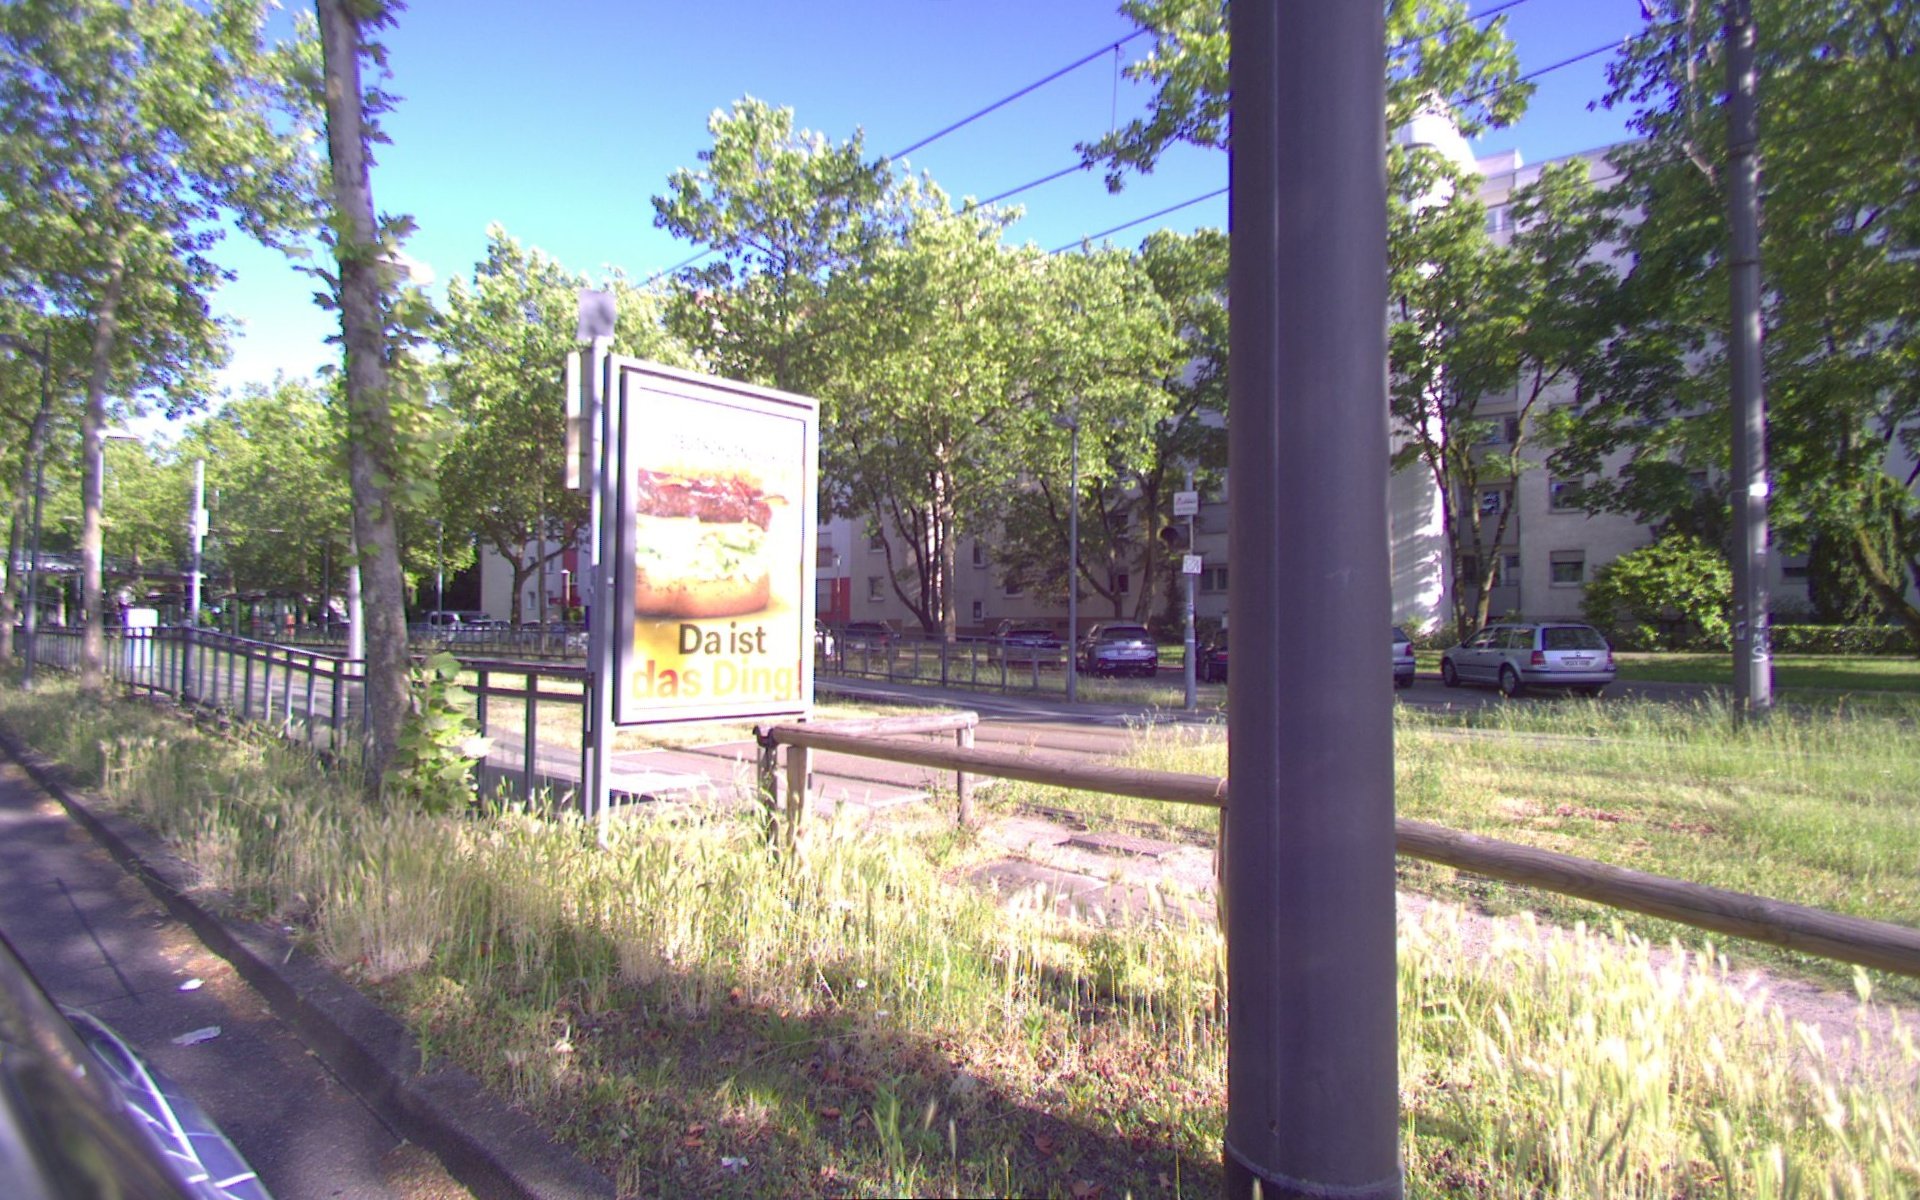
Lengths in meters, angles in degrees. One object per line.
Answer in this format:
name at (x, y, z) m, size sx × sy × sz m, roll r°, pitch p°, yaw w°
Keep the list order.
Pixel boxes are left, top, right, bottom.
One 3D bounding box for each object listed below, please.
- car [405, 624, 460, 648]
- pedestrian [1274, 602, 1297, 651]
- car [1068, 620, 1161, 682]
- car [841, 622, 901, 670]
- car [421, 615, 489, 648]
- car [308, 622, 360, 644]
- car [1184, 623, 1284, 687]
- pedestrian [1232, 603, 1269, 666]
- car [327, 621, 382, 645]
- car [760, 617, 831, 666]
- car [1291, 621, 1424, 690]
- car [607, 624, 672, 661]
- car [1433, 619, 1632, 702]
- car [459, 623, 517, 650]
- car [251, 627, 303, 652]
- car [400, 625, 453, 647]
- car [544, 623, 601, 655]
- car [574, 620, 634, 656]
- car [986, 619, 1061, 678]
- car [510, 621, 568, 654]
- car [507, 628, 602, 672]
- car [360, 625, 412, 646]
car at (-30.930, 2.084, 59.459) m, size 1.459 × 1.354 × 3.488 m, roll 0°, pitch -1°, yaw -1°
pedestrian at (11.779, 0.961, 36.635) m, size 0.634 × 1.770 × 0.516 m, roll -1°, pitch -2°, yaw 39°
car at (4.137, 1.330, 27.715) m, size 1.650 × 1.469 × 4.004 m, roll -1°, pitch 0°, yaw -4°
car at (-2.998, 1.538, 34.668) m, size 1.538 × 1.439 × 3.761 m, roll -1°, pitch 0°, yaw 3°
car at (-28.432, 1.759, 57.122) m, size 1.843 × 1.826 × 4.047 m, roll 0°, pitch -1°, yaw 0°
car at (-44.776, 2.346, 72.507) m, size 1.578 × 1.538 × 3.737 m, roll 0°, pitch -1°, yaw -3°
car at (6.750, 1.311, 25.320) m, size 1.572 × 1.360 × 3.922 m, roll -1°, pitch 0°, yaw 3°
pedestrian at (8.394, 0.992, 29.228) m, size 0.755 × 1.770 × 0.752 m, roll -1°, pitch -2°, yaw 41°
car at (-40.706, 2.207, 68.085) m, size 1.578 × 1.582 × 3.830 m, roll 0°, pitch -1°, yaw -3°
car at (-5.988, 1.481, 37.217) m, size 1.791 × 1.607 × 3.997 m, roll -1°, pitch 0°, yaw 3°
car at (9.129, 1.236, 23.540) m, size 1.553 × 1.431 × 3.620 m, roll -1°, pitch -1°, yaw -1°
car at (-14.022, 1.835, 44.484) m, size 1.470 × 1.425 × 3.880 m, roll -1°, pitch 0°, yaw 3°
car at (11.525, 1.154, 20.724) m, size 1.685 × 1.454 × 3.978 m, roll -1°, pitch 0°, yaw -2°
car at (-25.854, 1.982, 55.535) m, size 1.605 × 1.414 × 3.488 m, roll 0°, pitch -1°, yaw -1°
car at (-43.226, 2.449, 64.027) m, size 4.100 × 1.523 × 1.746 m, roll -1°, pitch -2°, yaw 41°
car at (-33.026, 2.193, 62.723) m, size 1.459 × 1.311 × 3.488 m, roll 0°, pitch -1°, yaw -1°
car at (-18.876, 1.880, 49.374) m, size 1.459 × 1.339 × 3.488 m, roll -2°, pitch 0°, yaw -1°
car at (-16.661, 1.755, 47.491) m, size 1.445 × 1.519 × 3.393 m, roll -1°, pitch 0°, yaw 3°
car at (1.795, 1.366, 29.822) m, size 1.669 × 1.499 × 4.003 m, roll -1°, pitch 0°, yaw -4°
car at (-21.187, 1.877, 51.080) m, size 1.539 × 1.436 × 3.489 m, roll -3°, pitch 0°, yaw -2°
car at (-15.383, 1.850, 38.284) m, size 4.332 × 1.534 × 1.785 m, roll -1°, pitch -2°, yaw 45°
car at (-37.477, 2.299, 66.169) m, size 1.459 × 1.330 × 3.488 m, roll 0°, pitch -1°, yaw -1°
